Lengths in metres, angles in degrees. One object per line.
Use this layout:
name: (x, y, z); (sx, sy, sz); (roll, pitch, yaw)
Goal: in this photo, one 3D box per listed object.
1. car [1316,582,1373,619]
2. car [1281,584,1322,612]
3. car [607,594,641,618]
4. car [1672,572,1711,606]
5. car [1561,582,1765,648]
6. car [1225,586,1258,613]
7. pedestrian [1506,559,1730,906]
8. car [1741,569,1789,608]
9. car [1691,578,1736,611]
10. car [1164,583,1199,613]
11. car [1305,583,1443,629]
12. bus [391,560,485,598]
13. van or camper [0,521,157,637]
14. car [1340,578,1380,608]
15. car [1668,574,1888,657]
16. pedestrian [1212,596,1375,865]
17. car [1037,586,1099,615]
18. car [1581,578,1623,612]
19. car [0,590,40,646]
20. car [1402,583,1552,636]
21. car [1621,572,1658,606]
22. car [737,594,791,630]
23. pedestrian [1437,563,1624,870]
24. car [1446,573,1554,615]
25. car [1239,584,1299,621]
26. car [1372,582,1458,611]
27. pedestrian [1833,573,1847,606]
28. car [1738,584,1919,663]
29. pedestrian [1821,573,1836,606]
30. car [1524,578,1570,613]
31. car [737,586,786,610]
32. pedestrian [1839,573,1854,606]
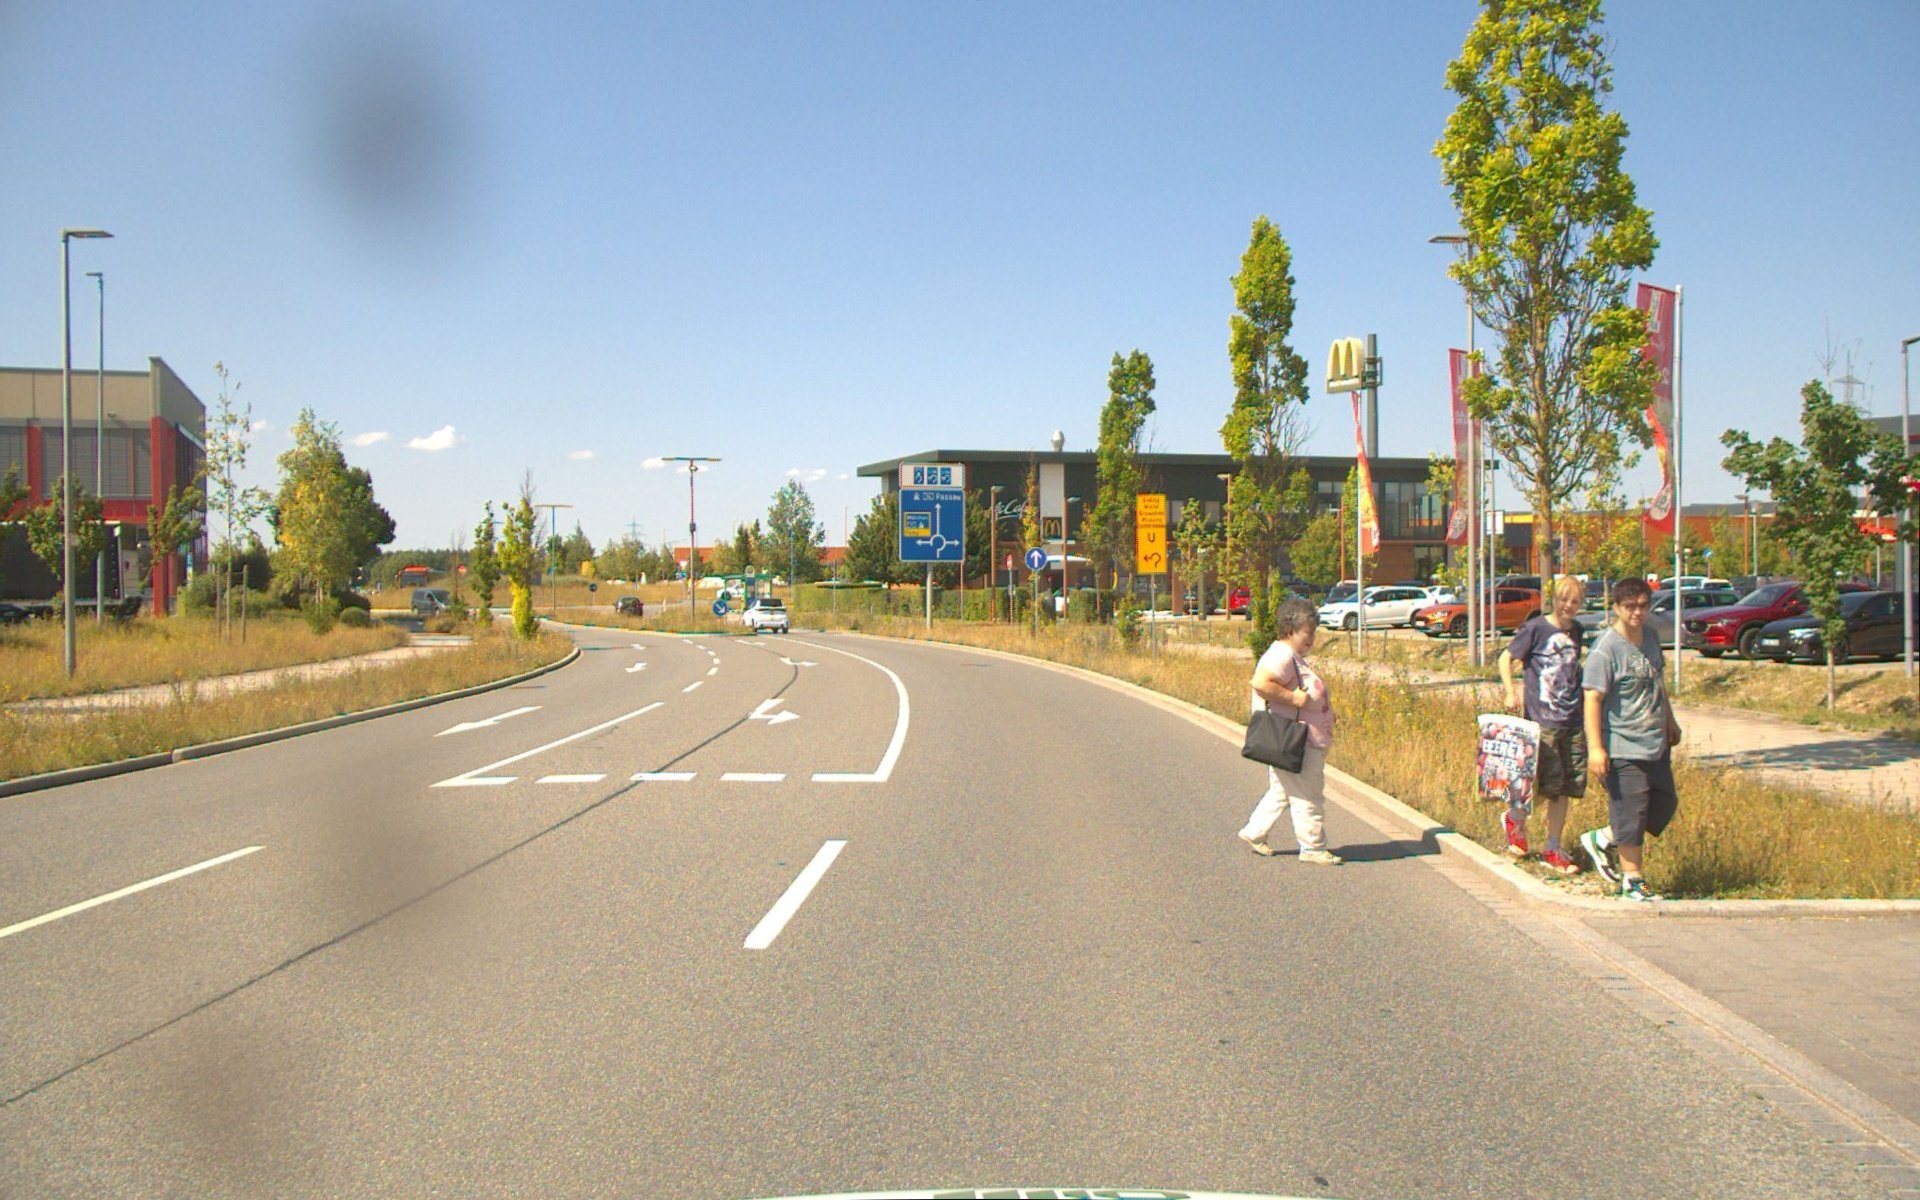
car: (16.502, -0.004, 70.852); (1.749, 1.487, 4.169); (-1, 0, 22)
car: (19.764, -0.123, 95.567); (1.755, 1.539, 4.001); (-1, 0, 19)
car: (-20.881, 0.361, 102.777); (1.592, 1.459, 3.771); (-1, 0, -19)
car: (39.719, -0.606, 89.883); (1.749, 1.788, 4.169); (-1, 0, 22)
car: (17.793, 0.352, 41.910); (4.472, 1.516, 1.864); (-2, 1, -10)
car: (16.055, -0.060, 94.292); (1.754, 1.459, 4.004); (-1, 0, 10)
pedestrian: (3.284, 0.631, 8.334); (0.792, 1.657, 0.866); (0, 0, 1)
car: (38.379, -0.545, 78.939); (1.749, 1.788, 4.169); (-1, 0, 22)
car: (35.631, -0.264, 78.291); (1.749, 1.476, 4.169); (-1, 0, 22)
car: (12.565, -0.118, 93.582); (1.754, 1.632, 4.004); (-1, 0, 10)
car: (14.764, 0.201, 59.084); (4.449, 1.516, 1.862); (-1, 1, -14)
bus: (-47.723, -1.999, 151.799); (2.727, 3.132, 12.217); (-1, 2, 10)
van or camper: (-29.406, -0.648, 51.412); (7.565, 3.529, 2.545); (-1, 0, -16)
car: (23.531, -0.430, 97.211); (1.755, 1.731, 4.001); (-1, 0, 20)
car: (18.338, 0.322, 37.175); (4.074, 1.694, 1.866); (-2, 1, -6)
pedestrian: (1.928, 0.724, 9.677); (0.776, 1.496, 0.949); (0, 0, 1)
car: (5.658, 0.021, 87.311); (1.767, 1.459, 3.975); (-1, 0, -21)
car: (29.335, -0.231, 75.521); (1.749, 1.476, 4.169); (-1, 0, 22)
car: (-28.857, 0.523, 47.110); (4.297, 1.579, 1.830); (-1, 0, -16)
car: (16.150, 0.280, 51.709); (4.133, 1.516, 1.862); (-1, 1, -14)
car: (36.351, -0.595, 88.558); (1.749, 1.788, 4.169); (-1, 0, 22)
car: (-8.385, 0.501, 70.590); (1.591, 1.459, 3.773); (-1, 0, -18)
pedestrian: (3.196, 0.626, 9.338); (0.784, 1.658, 0.805); (0, 0, 1)
car: (22.247, -0.256, 68.142); (4.097, 1.664, 1.780); (-1, 0, -22)
car: (12.992, 0.073, 69.419); (1.662, 1.487, 4.169); (-1, 0, 22)
car: (22.900, -0.174, 83.211); (3.908, 1.397, 1.797); (-1, 0, 26)
pedestrian: (33.480, -0.402, 62.941); (0.374, 1.262, 0.290); (-1, 0, -22)
car: (18.764, 0.460, 34.802); (4.081, 1.474, 1.786); (-2, 1, -12)
pedestrian: (32.819, -0.398, 62.510); (0.374, 1.262, 0.290); (-1, 0, -22)
car: (26.507, -0.218, 74.628); (1.749, 1.476, 4.169); (-1, 0, 22)
car: (-17.028, -0.184, 142.199); (3.903, 2.049, 1.835); (0, 0, 3)
pedestrian: (33.587, -0.401, 62.666); (0.374, 1.262, 0.290); (-1, 0, -22)
